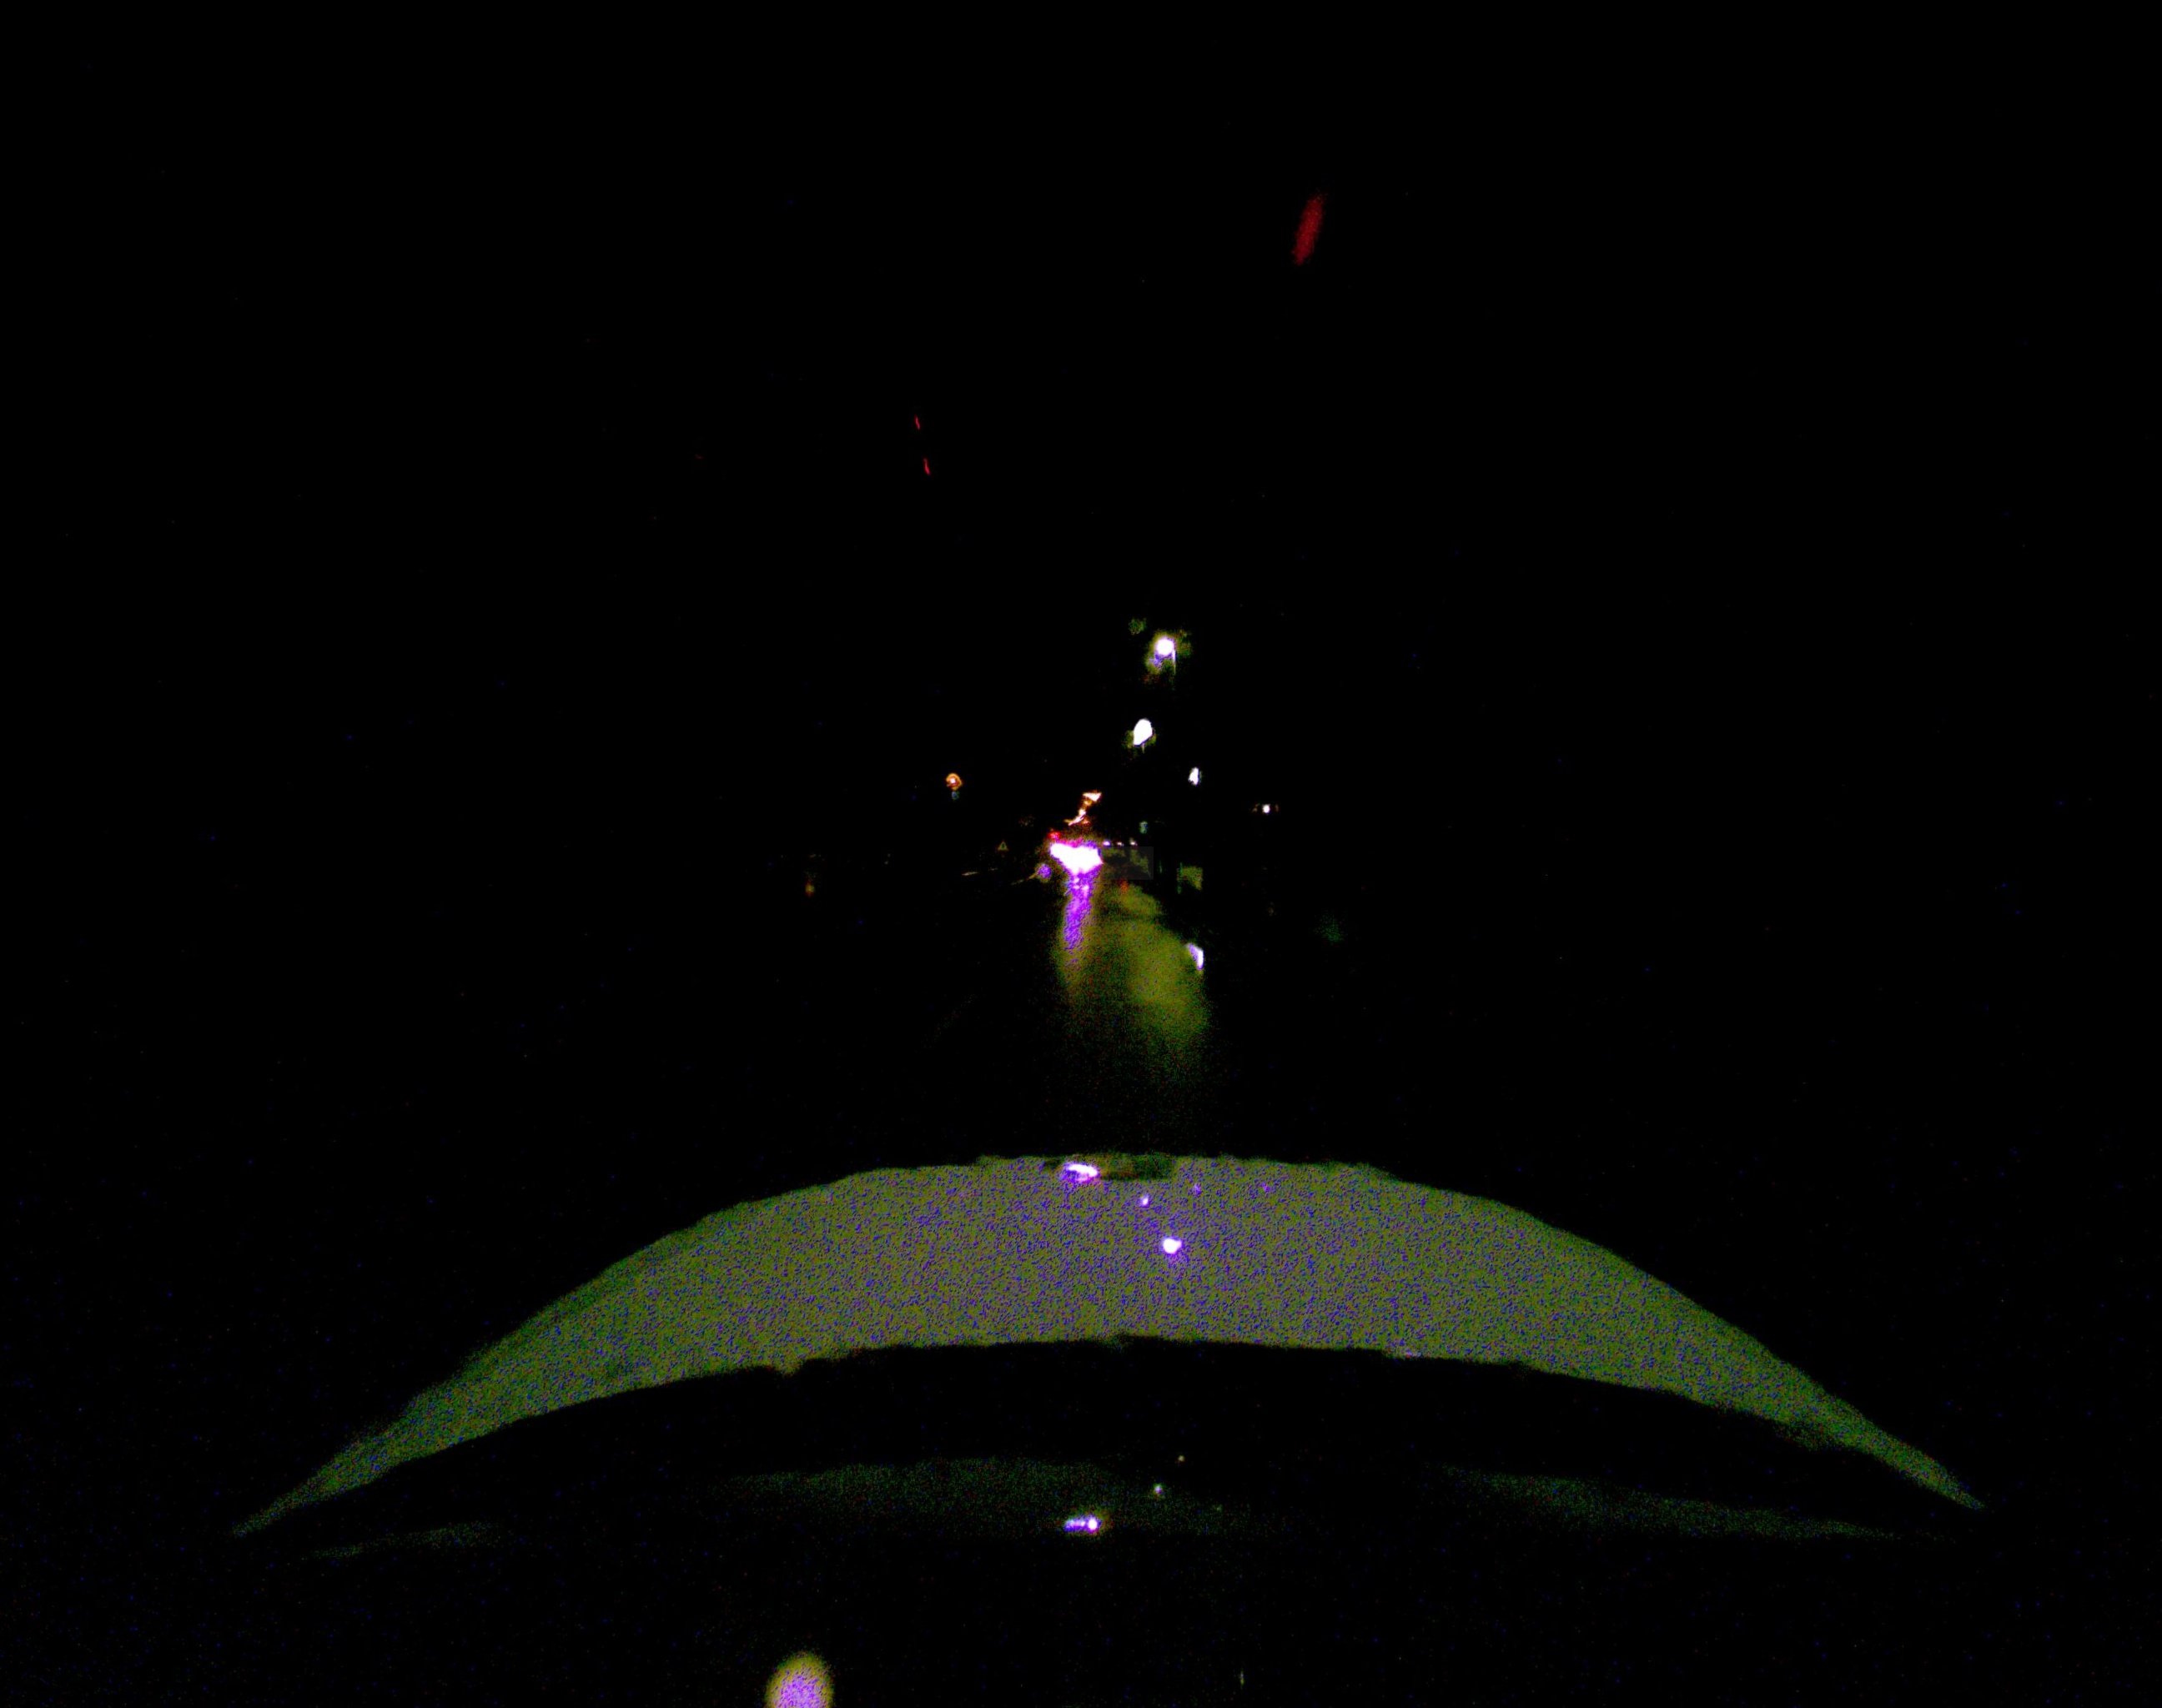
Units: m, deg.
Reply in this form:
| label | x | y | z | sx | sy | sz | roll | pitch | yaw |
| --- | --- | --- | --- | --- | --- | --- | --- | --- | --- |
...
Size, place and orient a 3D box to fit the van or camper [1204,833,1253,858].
| label | x | y | z | sx | sy | sz | roll | pitch | yaw |
| --- | --- | --- | --- | --- | --- | --- | --- | --- | --- |
| van or camper | 16.216 | -0.966 | 89.939 | 5.042 | 2.527 | 2.173 | -2 | 1 | 2 |

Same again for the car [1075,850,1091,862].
| label | x | y | z | sx | sy | sz | roll | pitch | yaw |
| --- | --- | --- | --- | --- | --- | --- | --- | --- | --- |
| car | 0.243 | 0.253 | 102.933 | 1.738 | 1.433 | 4.003 | -2 | 0 | 3 |

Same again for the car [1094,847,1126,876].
| label | x | y | z | sx | sy | sz | roll | pitch | yaw |
| --- | --- | --- | --- | --- | --- | --- | --- | --- | --- |
| car | 1.872 | 0.461 | 53.368 | 1.986 | 1.683 | 4.002 | -1 | 2 | 2 |

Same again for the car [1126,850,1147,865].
| label | x | y | z | sx | sy | sz | roll | pitch | yaw |
| --- | --- | --- | --- | --- | --- | --- | --- | --- | --- |
| car | 5.863 | 0.313 | 86.179 | 1.708 | 1.488 | 4.434 | -2 | 0 | -1 |

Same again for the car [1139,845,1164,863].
| label | x | y | z | sx | sy | sz | roll | pitch | yaw |
| --- | --- | --- | --- | --- | --- | --- | --- | --- | --- |
| car | 6.463 | -0.003 | 75.087 | 1.785 | 1.449 | 4.788 | -4 | 1 | -2 |
